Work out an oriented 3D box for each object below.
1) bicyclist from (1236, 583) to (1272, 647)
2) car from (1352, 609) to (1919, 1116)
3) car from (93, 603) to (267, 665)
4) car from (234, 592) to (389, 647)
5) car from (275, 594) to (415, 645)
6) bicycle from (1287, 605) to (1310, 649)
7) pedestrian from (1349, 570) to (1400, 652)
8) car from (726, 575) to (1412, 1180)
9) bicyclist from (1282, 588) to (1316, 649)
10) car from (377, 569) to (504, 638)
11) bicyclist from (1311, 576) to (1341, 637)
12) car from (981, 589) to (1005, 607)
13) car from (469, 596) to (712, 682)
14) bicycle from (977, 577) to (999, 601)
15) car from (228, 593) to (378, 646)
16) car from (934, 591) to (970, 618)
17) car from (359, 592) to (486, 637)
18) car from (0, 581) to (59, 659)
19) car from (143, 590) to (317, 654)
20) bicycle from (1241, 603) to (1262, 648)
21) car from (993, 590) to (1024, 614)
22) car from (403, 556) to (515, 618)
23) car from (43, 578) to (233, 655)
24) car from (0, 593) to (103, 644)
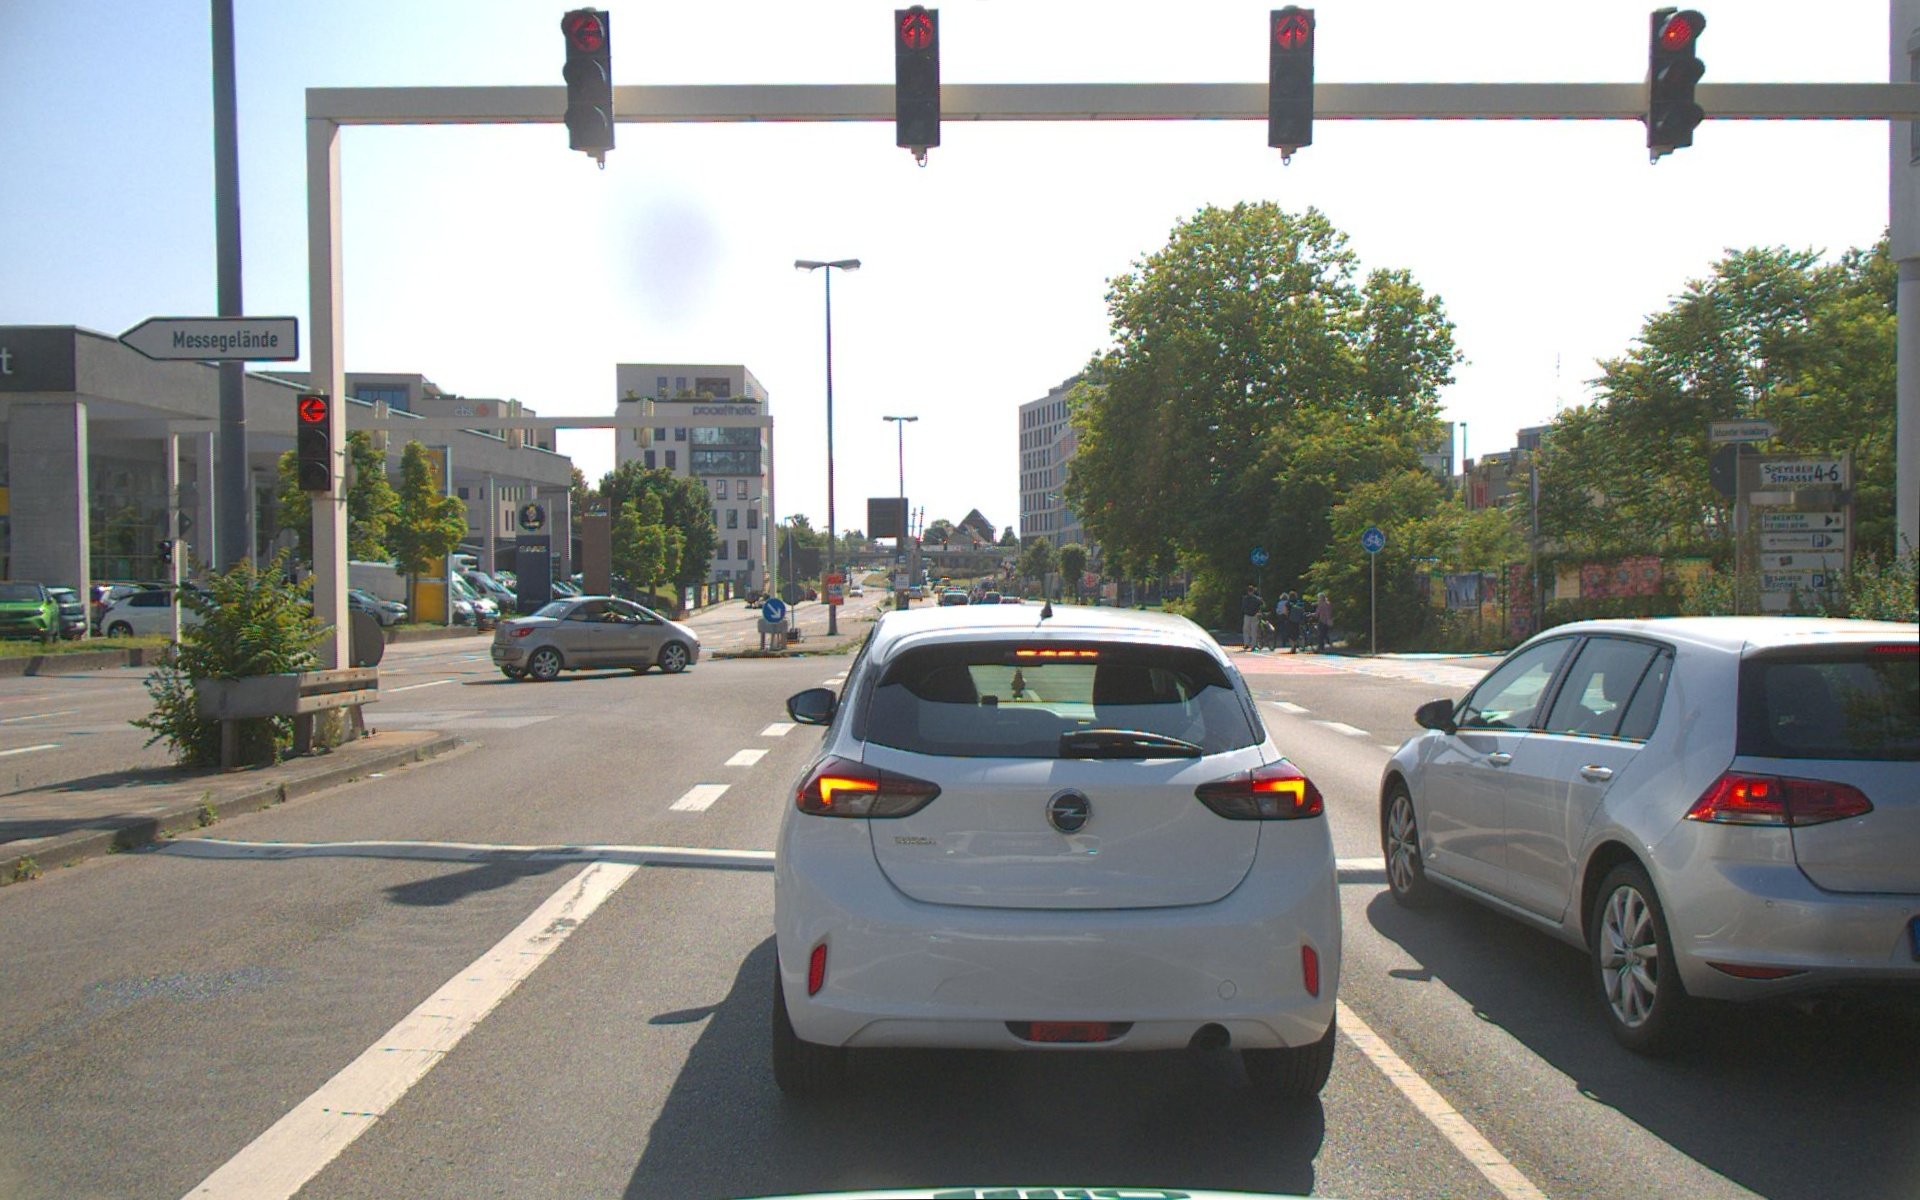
[{"bbox_3d":[8.381,0.426,47.140,0.861,1.803,0.863,0,0,-1],"label":"bicyclist"},{"bbox_3d":[3.096,0.775,6.879,1.771,1.454,3.997,0,0,-4],"label":"car"},{"bbox_3d":[-21.586,0.928,45.923,3.912,1.627,1.997,-1,0,-8],"label":"car"},{"bbox_3d":[-21.020,0.613,53.762,4.270,1.726,1.999,0,0,-3],"label":"car"},{"bbox_3d":[-21.963,0.673,59.175,4.270,1.726,1.999,-1,0,-4],"label":"car"},{"bbox_3d":[9.270,0.740,45.297,0.366,1.167,1.034,1,-1,-3],"label":"bicycle"},{"bbox_3d":[10.465,0.268,41.819,1.006,2.049,1.038,0,0,-1],"label":"pedestrian"},{"bbox_3d":[0.249,0.695,6.222,1.743,1.520,3.999,-1,0,-1],"label":"car"},{"bbox_3d":[9.292,0.502,45.334,0.675,1.672,0.775,0,0,-9],"label":"bicyclist"},{"bbox_3d":[-21.141,0.139,67.405,4.401,2.731,2.130,0,0,8],"label":"car"},{"bbox_3d":[10.176,0.174,45.992,0.639,1.666,0.659,1,-1,-1],"label":"bicyclist"},{"bbox_3d":[2.719,-0.116,136.540,1.769,1.410,3.999,1,-1,-1],"label":"car"},{"bbox_3d":[-6.807,0.664,30.536,3.951,1.354,1.977,-2,1,-33],"label":"car"},{"bbox_3d":[2.622,-1.022,155.679,1.953,2.195,3.999,0,0,-1],"label":"bicycle"},{"bbox_3d":[-22.185,0.636,55.966,4.270,1.726,1.999,-1,0,-4],"label":"car"},{"bbox_3d":[-0.456,0.270,89.402,1.770,1.410,3.997,1,-1,-3],"label":"car"},{"bbox_3d":[-21.069,0.556,64.957,4.265,1.726,2.001,-1,0,4],"label":"car"},{"bbox_3d":[-22.563,0.491,38.942,1.887,1.764,3.250,-1,-1,-37],"label":"car"},{"bbox_3d":[-21.395,0.632,48.619,4.211,1.796,1.999,-1,0,-4],"label":"car"},{"bbox_3d":[8.309,0.715,47.101,0.365,1.238,1.153,1,0,-1],"label":"bicycle"},{"bbox_3d":[3.052,0.145,105.313,1.769,1.410,3.999,1,-1,-1],"label":"car"},{"bbox_3d":[-21.986,-0.583,72.705,4.265,2.646,2.001,-1,0,4],"label":"car"},{"bbox_3d":[-20.732,0.400,41.837,3.793,1.870,1.999,-1,0,-4],"label":"car"},{"bbox_3d":[-26.267,0.532,45.522,4.276,1.290,1.996,-2,-1,-9],"label":"car"}]
